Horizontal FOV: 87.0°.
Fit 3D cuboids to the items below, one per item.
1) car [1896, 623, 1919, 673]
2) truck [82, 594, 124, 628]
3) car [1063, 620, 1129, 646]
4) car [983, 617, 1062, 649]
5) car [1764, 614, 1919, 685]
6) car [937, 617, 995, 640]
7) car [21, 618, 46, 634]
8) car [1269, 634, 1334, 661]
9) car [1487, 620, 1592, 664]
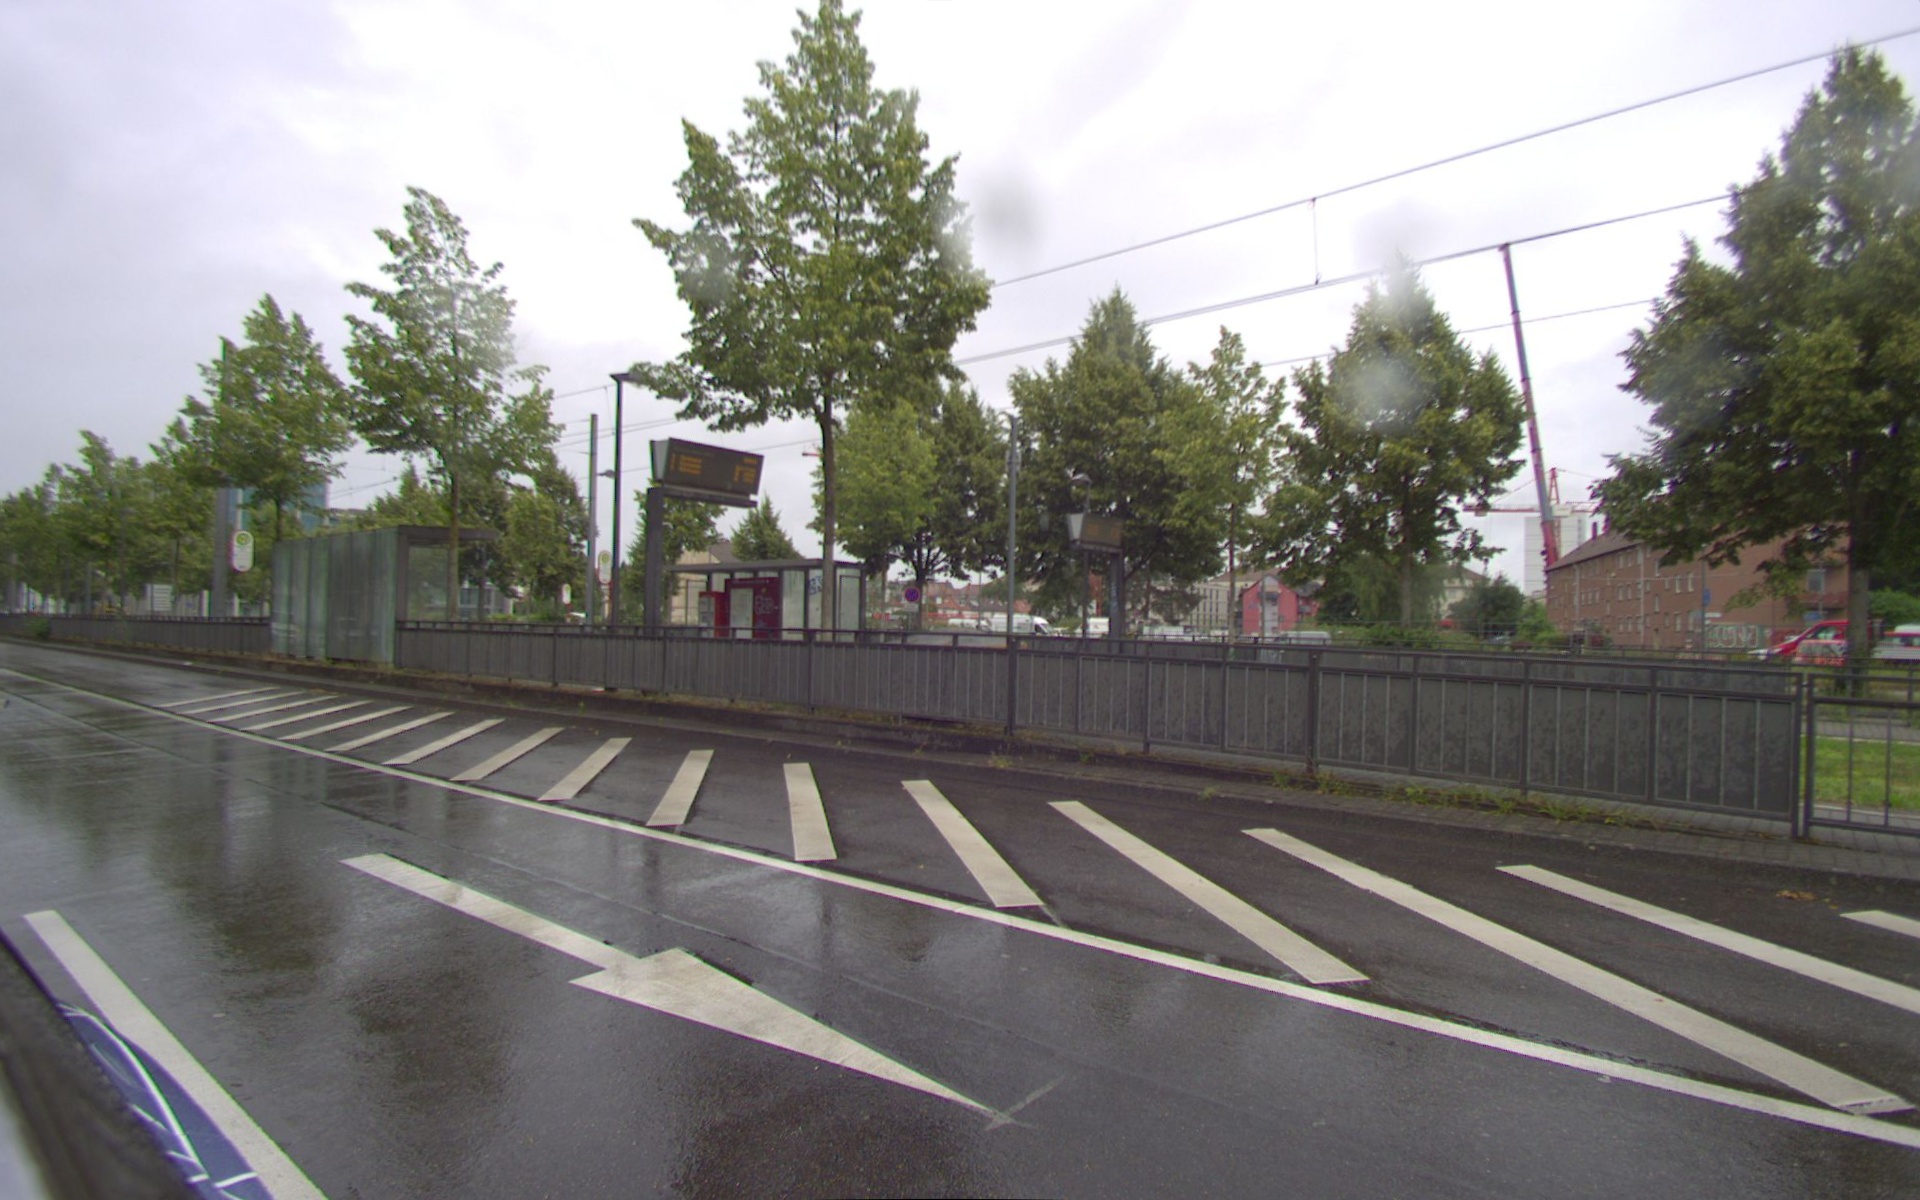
[{"bbox_3d":[45.934,2.161,44.976,1.597,2.296,6.114,2,-3,-37],"label":"car"},{"bbox_3d":[-99.148,1.230,116.994,9.184,3.806,2.657,0,0,43],"label":"truck"},{"bbox_3d":[11.901,2.881,88.786,5.412,2.067,1.976,0,0,37],"label":"car"},{"bbox_3d":[5.252,2.780,85.920,6.735,2.480,1.975,0,0,37],"label":"car"},{"bbox_3d":[33.458,1.761,36.723,1.597,2.489,6.500,2,-2,-39],"label":"car"},{"bbox_3d":[0.616,2.975,108.311,6.123,2.323,1.978,0,0,32],"label":"car"},{"bbox_3d":[-123.855,3.445,135.257,3.994,2.029,1.740,-1,-2,38],"label":"car"},{"bbox_3d":[26.284,3.628,77.902,4.415,1.891,1.855,0,0,34],"label":"car"},{"bbox_3d":[35.759,2.538,62.540,5.482,2.471,1.976,0,0,36],"label":"car"}]
